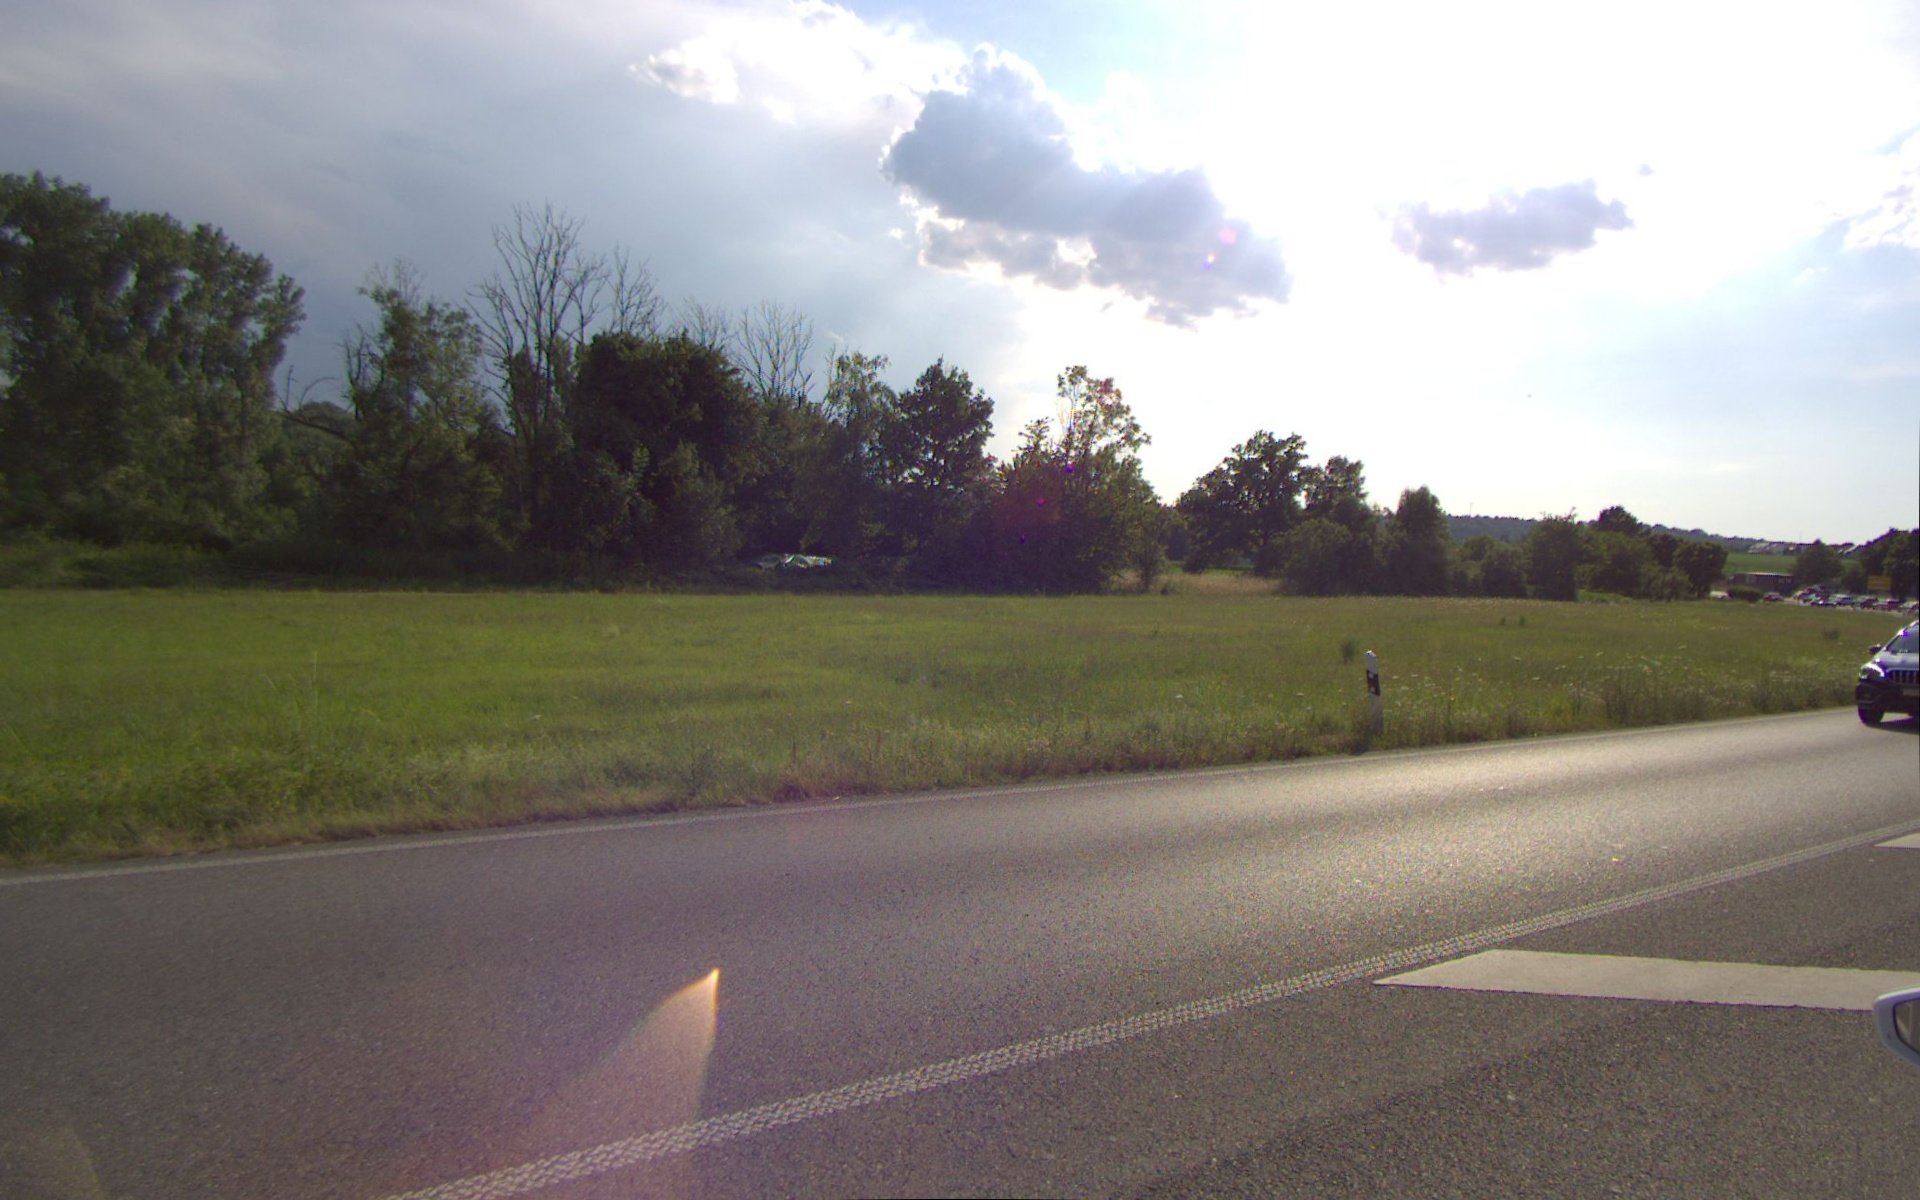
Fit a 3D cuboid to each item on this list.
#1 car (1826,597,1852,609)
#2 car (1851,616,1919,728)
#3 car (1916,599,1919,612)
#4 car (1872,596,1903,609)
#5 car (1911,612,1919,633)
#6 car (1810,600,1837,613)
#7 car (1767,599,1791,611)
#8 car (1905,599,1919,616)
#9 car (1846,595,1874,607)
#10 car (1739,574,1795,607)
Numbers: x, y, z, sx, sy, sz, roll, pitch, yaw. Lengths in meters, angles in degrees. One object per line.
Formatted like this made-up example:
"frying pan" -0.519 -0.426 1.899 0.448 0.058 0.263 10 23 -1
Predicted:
"car" 126.134 0.401 144.151 1.853 1.621 3.994 3 2 28
"car" 15.430 1.131 15.602 4.117 1.573 1.681 3 1 -39
"car" 113.754 0.687 117.554 1.855 1.621 3.991 3 2 31
"car" 120.696 0.343 130.720 1.853 1.621 3.995 3 2 26
"car" 77.132 1.836 79.714 1.857 1.621 3.986 3 2 36
"car" 114.308 0.876 133.013 1.854 1.621 3.993 3 2 29
"car" 122.423 0.686 150.147 1.853 1.621 3.995 3 2 26
"car" 95.573 0.756 100.019 1.860 1.621 3.980 3 2 41
"car" 122.528 0.117 136.763 1.853 1.621 3.994 3 2 27
"car" 134.786 -1.542 167.963 3.484 5.127 13.236 3 2 22
